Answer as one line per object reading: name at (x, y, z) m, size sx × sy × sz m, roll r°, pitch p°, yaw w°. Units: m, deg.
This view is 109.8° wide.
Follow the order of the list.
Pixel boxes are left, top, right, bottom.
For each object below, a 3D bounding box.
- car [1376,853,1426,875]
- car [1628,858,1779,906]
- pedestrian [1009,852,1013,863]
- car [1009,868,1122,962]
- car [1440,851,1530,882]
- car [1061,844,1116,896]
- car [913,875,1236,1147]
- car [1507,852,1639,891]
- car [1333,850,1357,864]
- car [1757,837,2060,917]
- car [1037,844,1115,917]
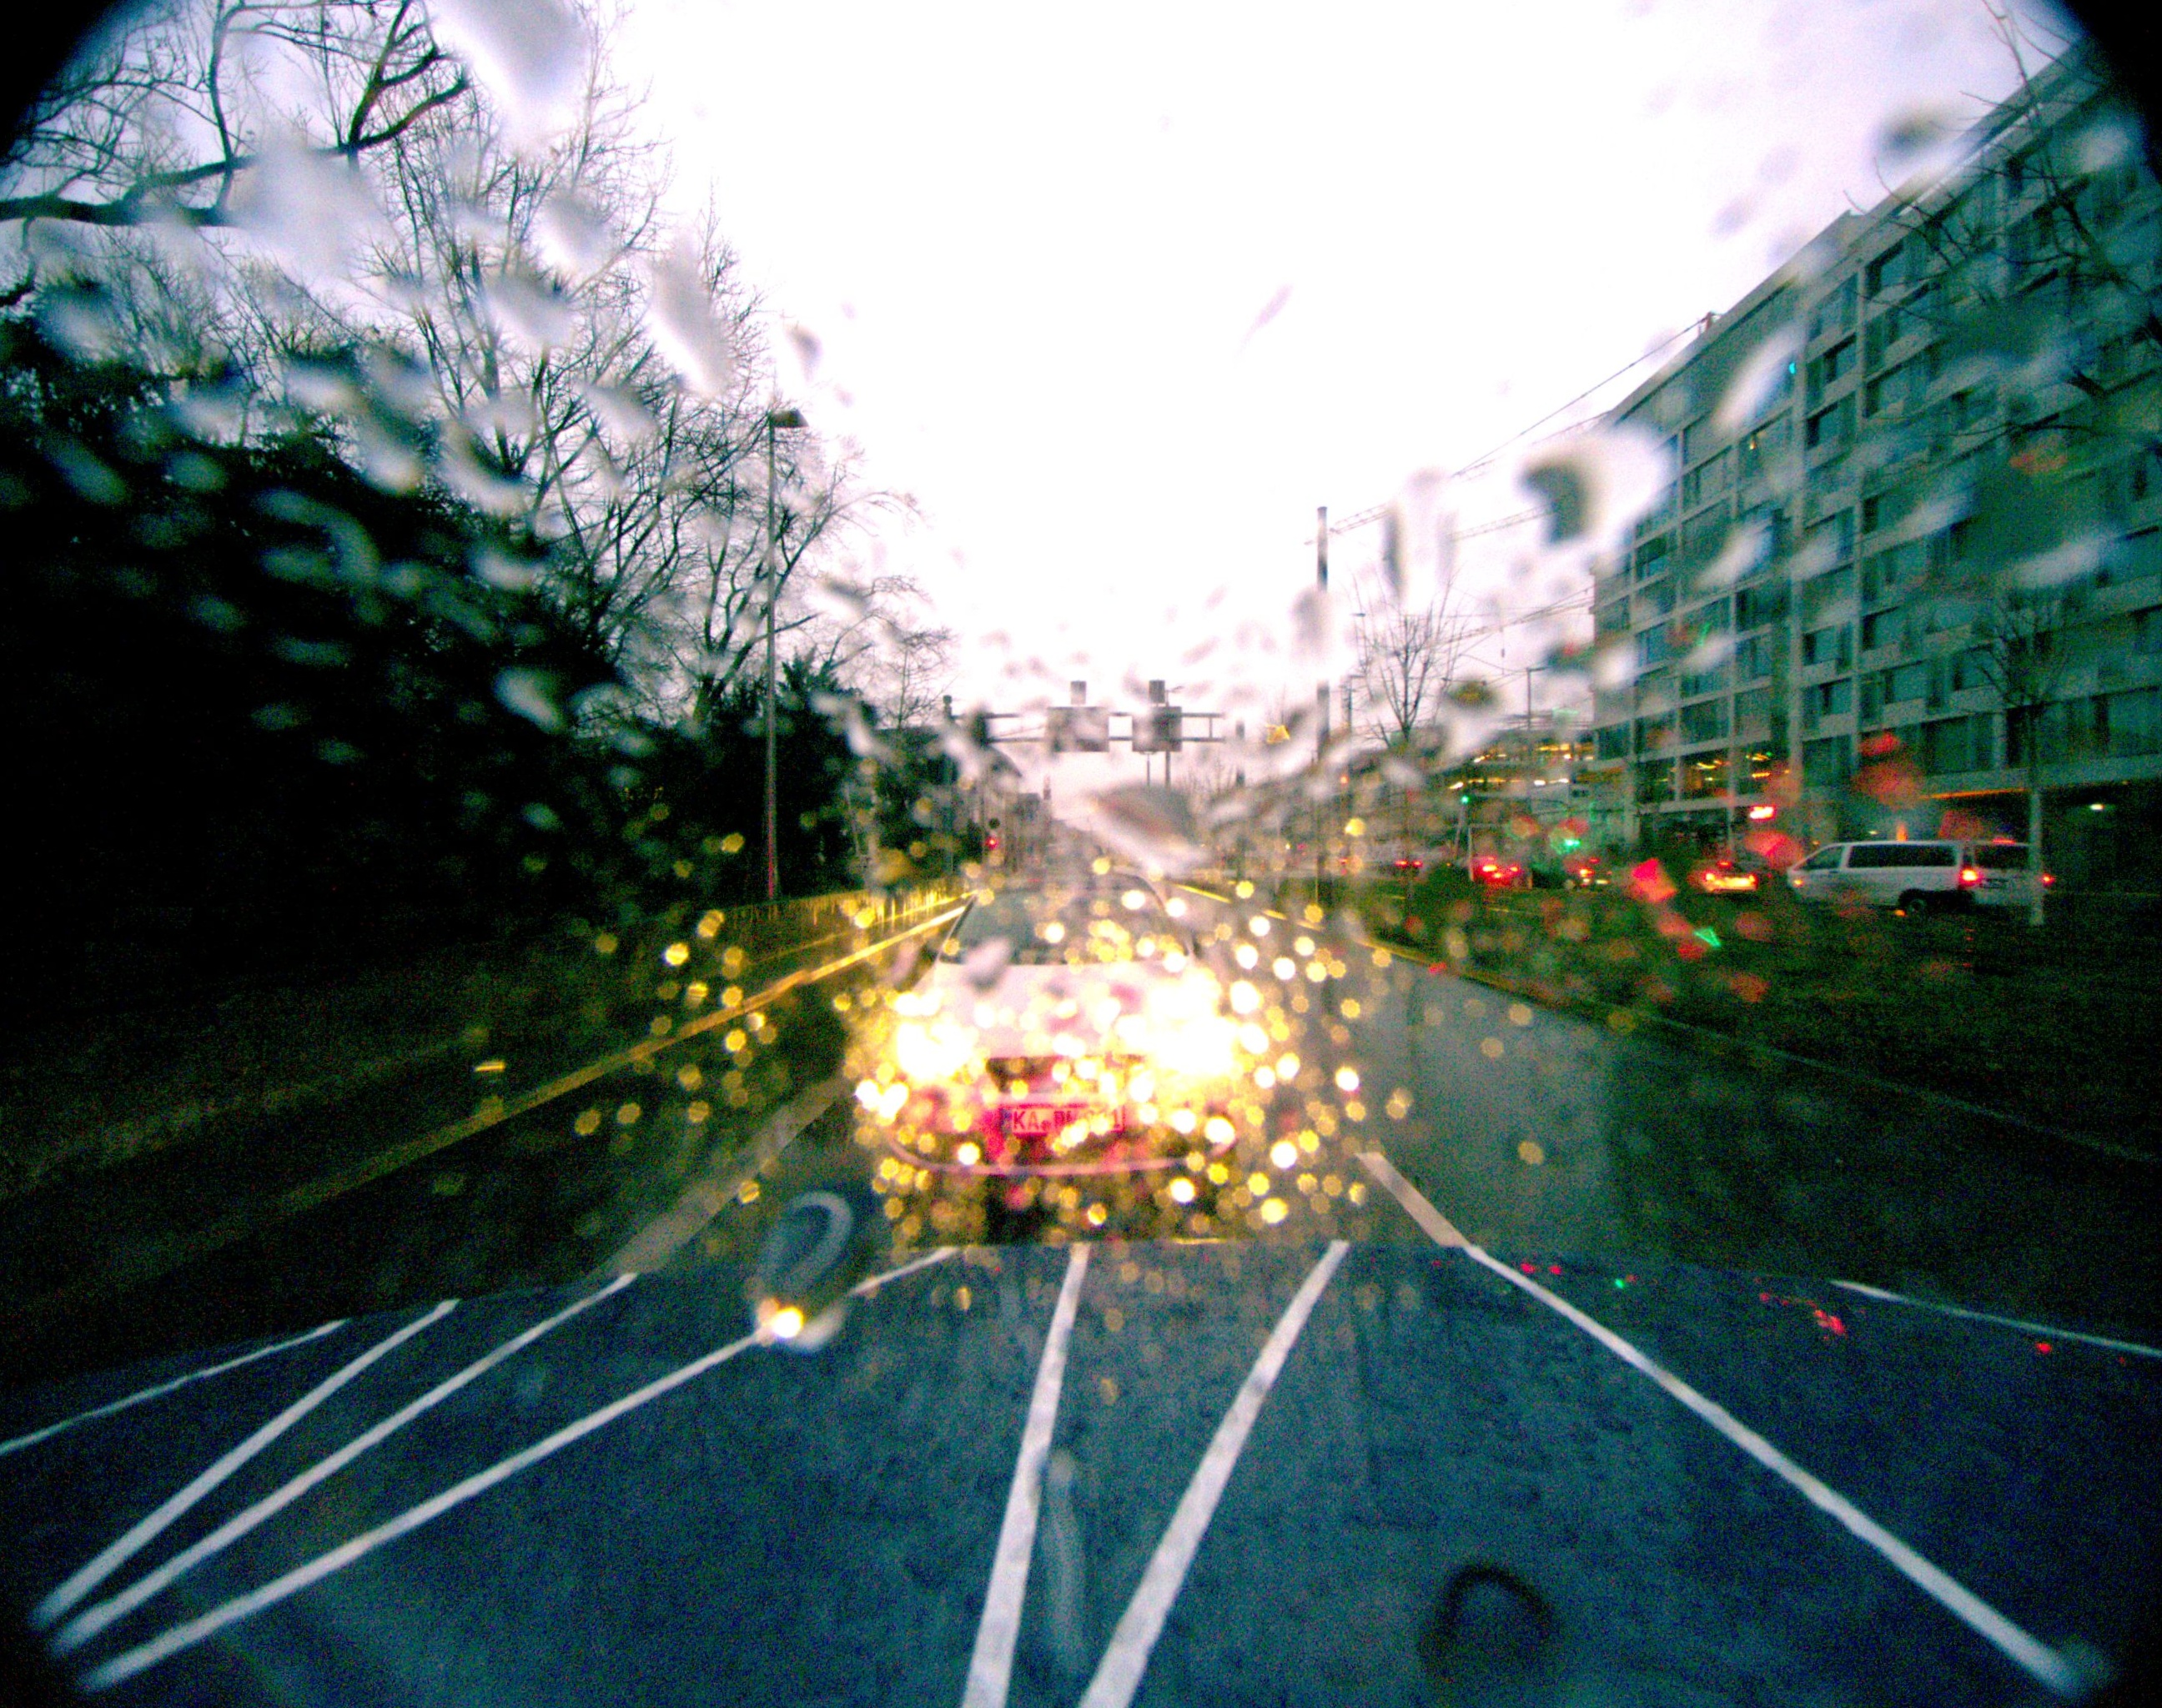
car at (25.422, 0.776, 60.536) m, size 1.900 × 1.709 × 4.916 m, roll 0°, pitch 0°, yaw 1°
car at (20.389, 0.867, 25.116) m, size 1.901 × 1.423 × 3.706 m, roll 0°, pitch 0°, yaw -1°
pedestrian at (-9.068, 0.452, 98.127) m, size 0.521 × 1.501 × 0.588 m, roll 0°, pitch 1°, yaw 1°
car at (-0.246, 0.981, 13.835) m, size 1.728 × 1.318 × 3.981 m, roll -2°, pitch 1°, yaw 0°
car at (20.450, 0.595, 38.718) m, size 1.998 × 1.459 × 5.034 m, roll 0°, pitch 0°, yaw 1°
car at (0.259, 0.516, 27.386) m, size 1.781 × 1.666 × 3.981 m, roll -2°, pitch 1°, yaw 0°
car at (-0.037, 0.948, 6.310) m, size 1.798 × 1.363 × 3.981 m, roll -2°, pitch 1°, yaw 0°
car at (20.502, 0.686, 31.906) m, size 2.001 × 1.488 × 4.444 m, roll 0°, pitch 0°, yaw -15°
car at (32.589, 0.366, 93.801) m, size 1.899 × 1.709 × 4.919 m, roll 0°, pitch 0°, yaw 8°
car at (19.908, 0.489, 18.749) m, size 1.901 × 1.709 × 5.117 m, roll 0°, pitch 0°, yaw 0°
car at (-0.122, 0.602, 19.795) m, size 1.781 × 1.666 × 3.981 m, roll -2°, pitch 1°, yaw 0°
